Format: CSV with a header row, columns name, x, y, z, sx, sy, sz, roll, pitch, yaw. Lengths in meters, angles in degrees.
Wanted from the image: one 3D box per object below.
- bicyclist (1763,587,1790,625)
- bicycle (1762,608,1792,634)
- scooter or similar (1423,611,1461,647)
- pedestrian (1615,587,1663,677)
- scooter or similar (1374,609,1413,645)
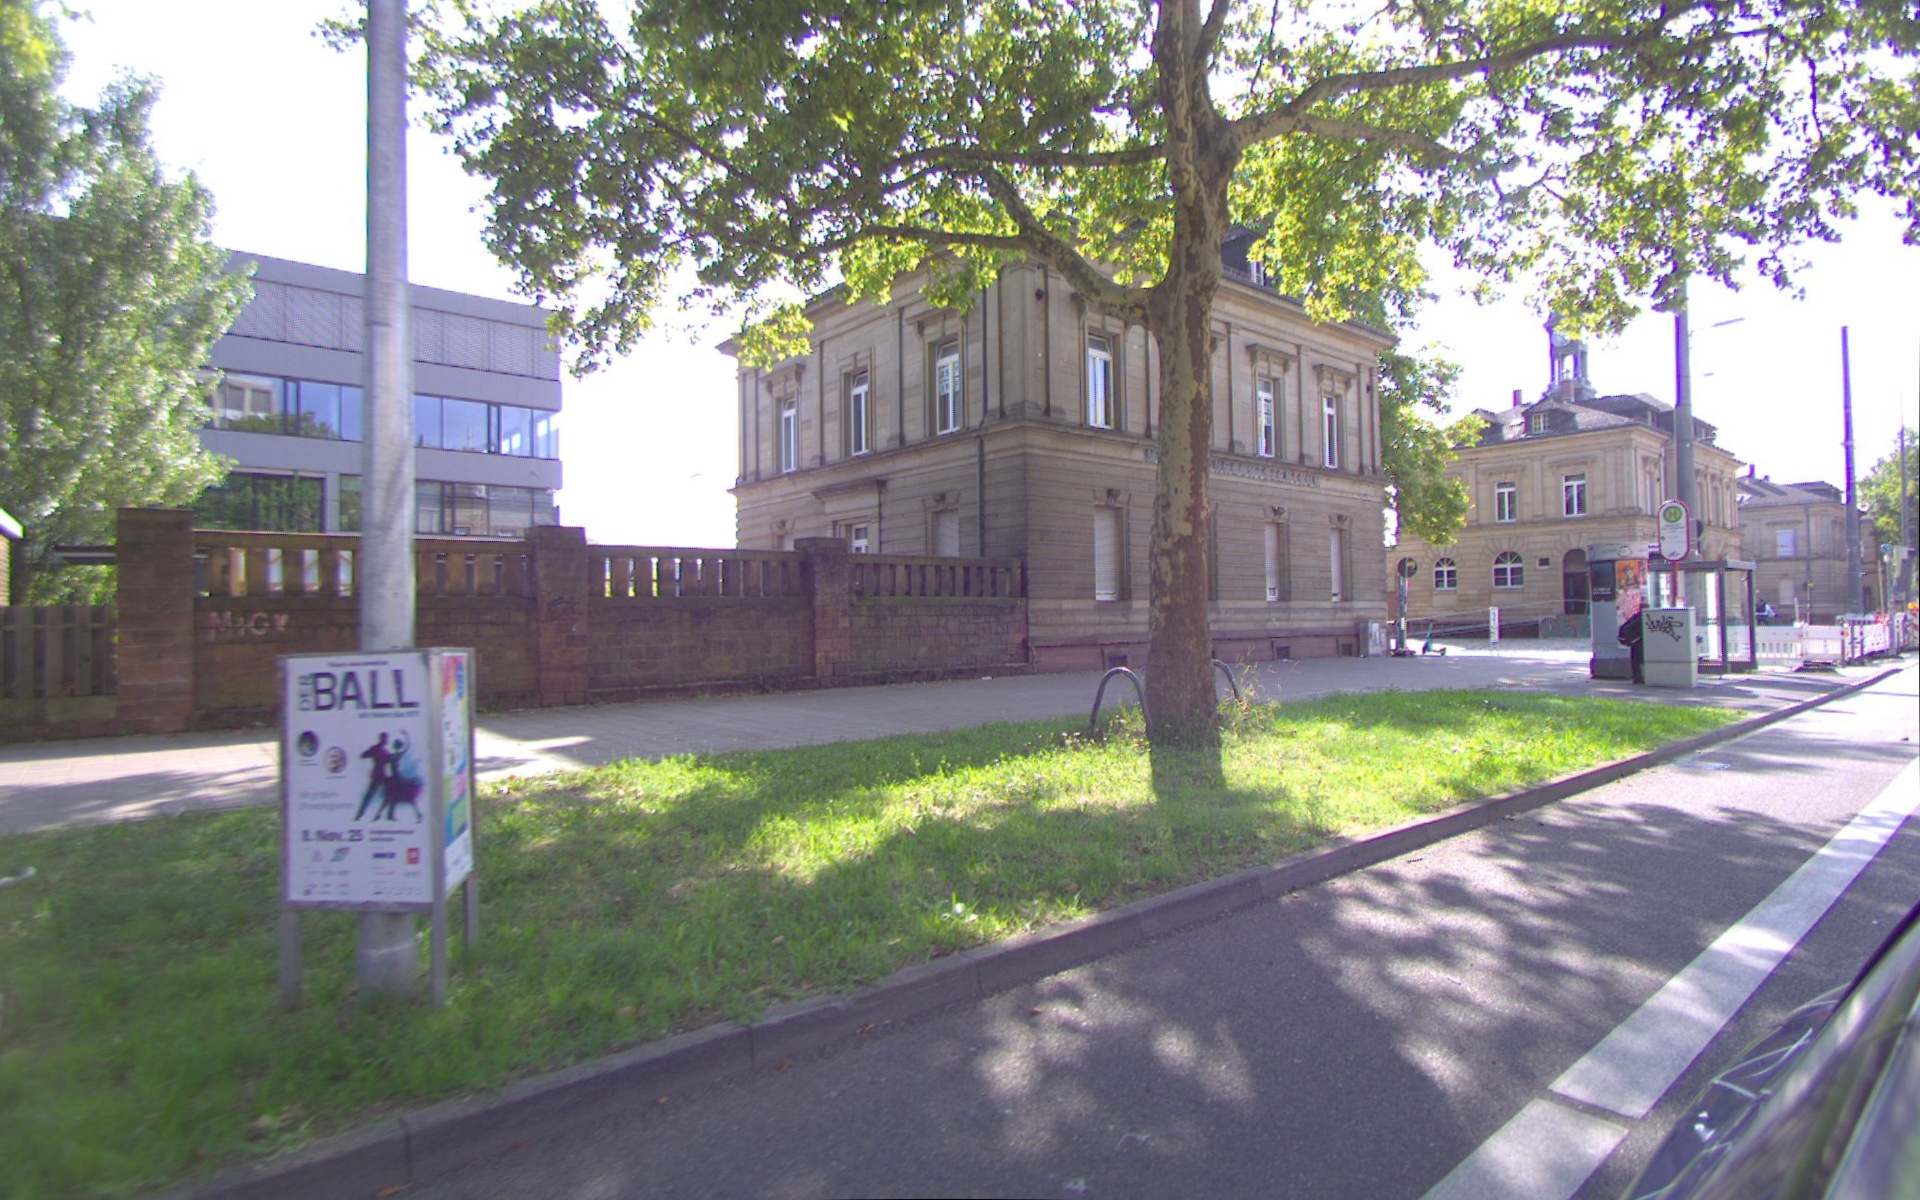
name,x,y,z,sx,sy,sz,roll,pitch,yaw
bicyclist,34.111,0.241,42.263,0.939,1.563,0.718,1,-2,-43
bicycle,34.114,0.868,42.254,1.871,1.055,0.718,1,-2,-43
scooter or similar,16.719,1.001,35.130,1.228,1.226,0.423,2,-2,-18
pedestrian,13.143,0.612,19.613,0.683,1.718,0.642,-1,-1,29
scooter or similar,15.404,0.953,35.974,1.242,1.226,0.419,0,-2,25
